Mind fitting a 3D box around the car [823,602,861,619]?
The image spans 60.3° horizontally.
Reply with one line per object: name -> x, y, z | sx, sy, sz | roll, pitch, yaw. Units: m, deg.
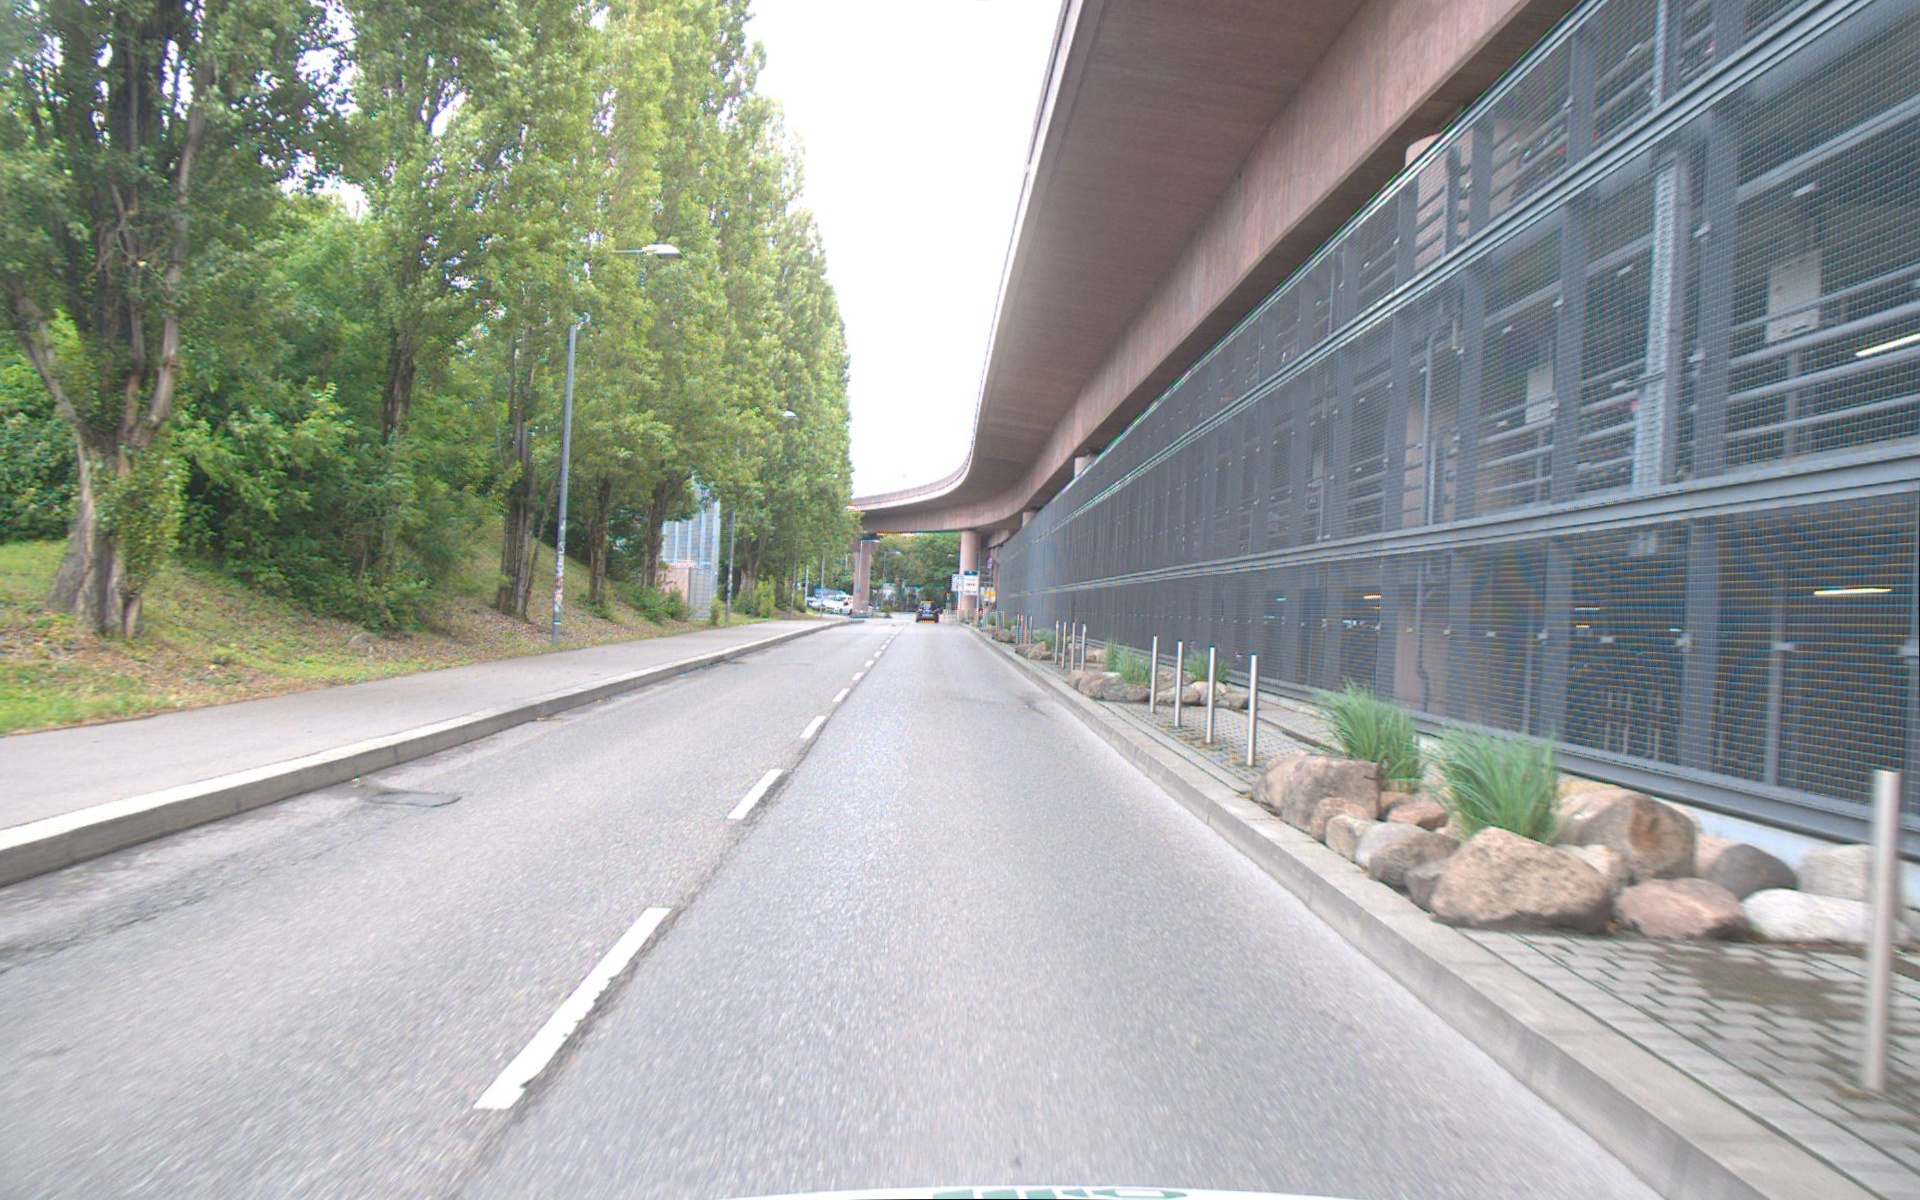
car -> -13.100, 1.138, 183.836 | 1.851, 1.746, 4.131 | 3, 2, 40

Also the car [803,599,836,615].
car -> -16.298, 0.795, 191.530 | 1.694, 1.746, 3.653 | 3, 2, 40

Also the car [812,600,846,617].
car -> -14.880, 0.959, 187.663 | 1.694, 1.746, 3.653 | 3, 2, 40

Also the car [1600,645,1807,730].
car -> 17.161, 2.003, 38.308 | 3.906, 1.643, 1.834 | 3, 0, -1

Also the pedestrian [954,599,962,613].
pedestrian -> -0.298, 0.852, 233.775 | 0.761, 1.909, 0.816 | 2, 1, -32

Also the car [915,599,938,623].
car -> -2.737, 0.909, 136.961 | 1.802, 1.741, 3.705 | 2, 1, -1

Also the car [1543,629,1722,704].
car -> 17.556, 1.722, 43.286 | 3.906, 1.643, 1.722 | 3, 0, 0

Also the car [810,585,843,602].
car -> -17.519, -0.851, 217.577 | 4.129, 2.049, 1.999 | 3, 0, -3
